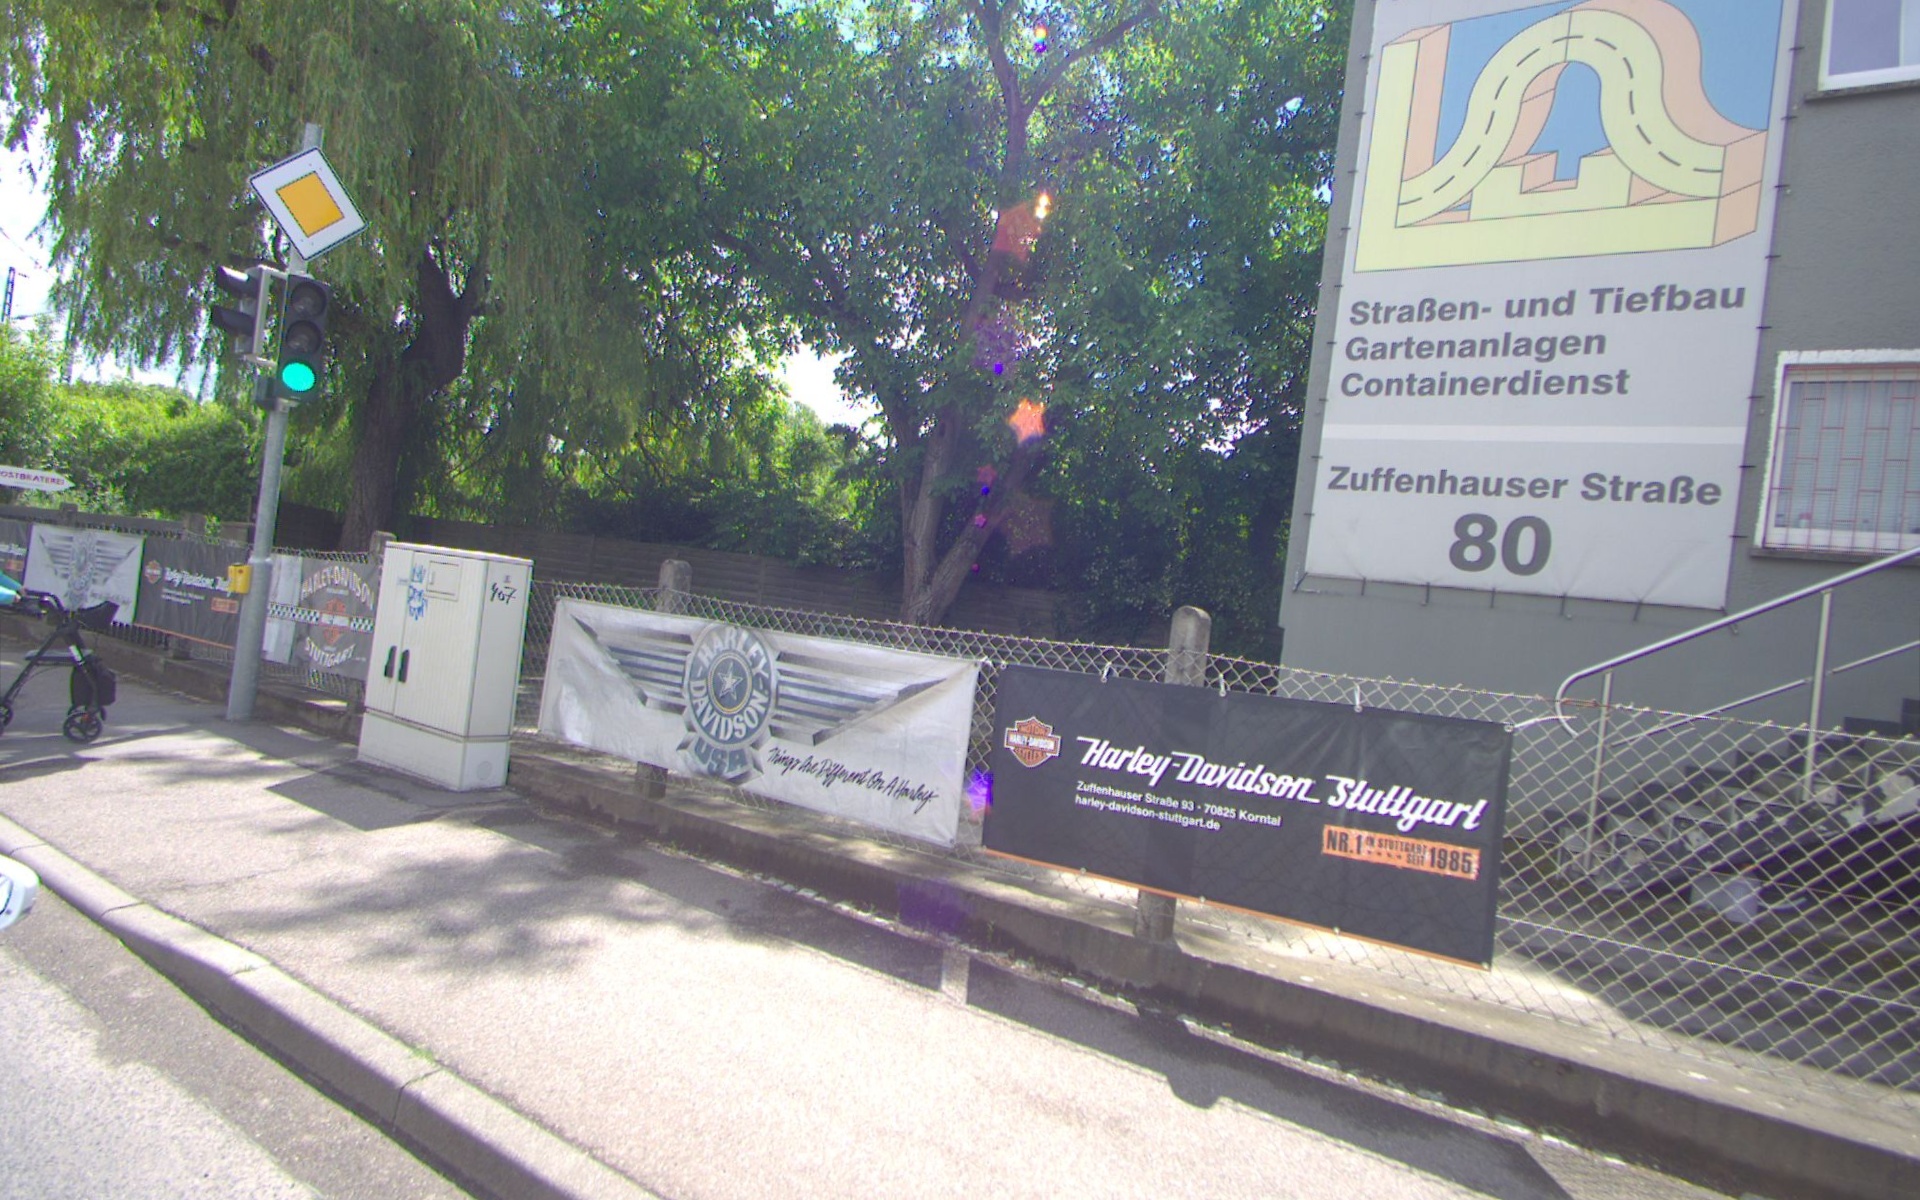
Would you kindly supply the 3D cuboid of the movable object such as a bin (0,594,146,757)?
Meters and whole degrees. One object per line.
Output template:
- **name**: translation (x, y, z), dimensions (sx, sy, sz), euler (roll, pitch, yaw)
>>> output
- **movable object such as a bin**: translation (-5.557, 0.445, 6.067), dimensions (0.659, 0.882, 0.747), euler (6, -2, 30)

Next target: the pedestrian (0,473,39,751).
- **pedestrian**: translation (-5.830, 0.037, 5.593), dimensions (0.722, 1.564, 0.838), euler (6, 3, 30)
